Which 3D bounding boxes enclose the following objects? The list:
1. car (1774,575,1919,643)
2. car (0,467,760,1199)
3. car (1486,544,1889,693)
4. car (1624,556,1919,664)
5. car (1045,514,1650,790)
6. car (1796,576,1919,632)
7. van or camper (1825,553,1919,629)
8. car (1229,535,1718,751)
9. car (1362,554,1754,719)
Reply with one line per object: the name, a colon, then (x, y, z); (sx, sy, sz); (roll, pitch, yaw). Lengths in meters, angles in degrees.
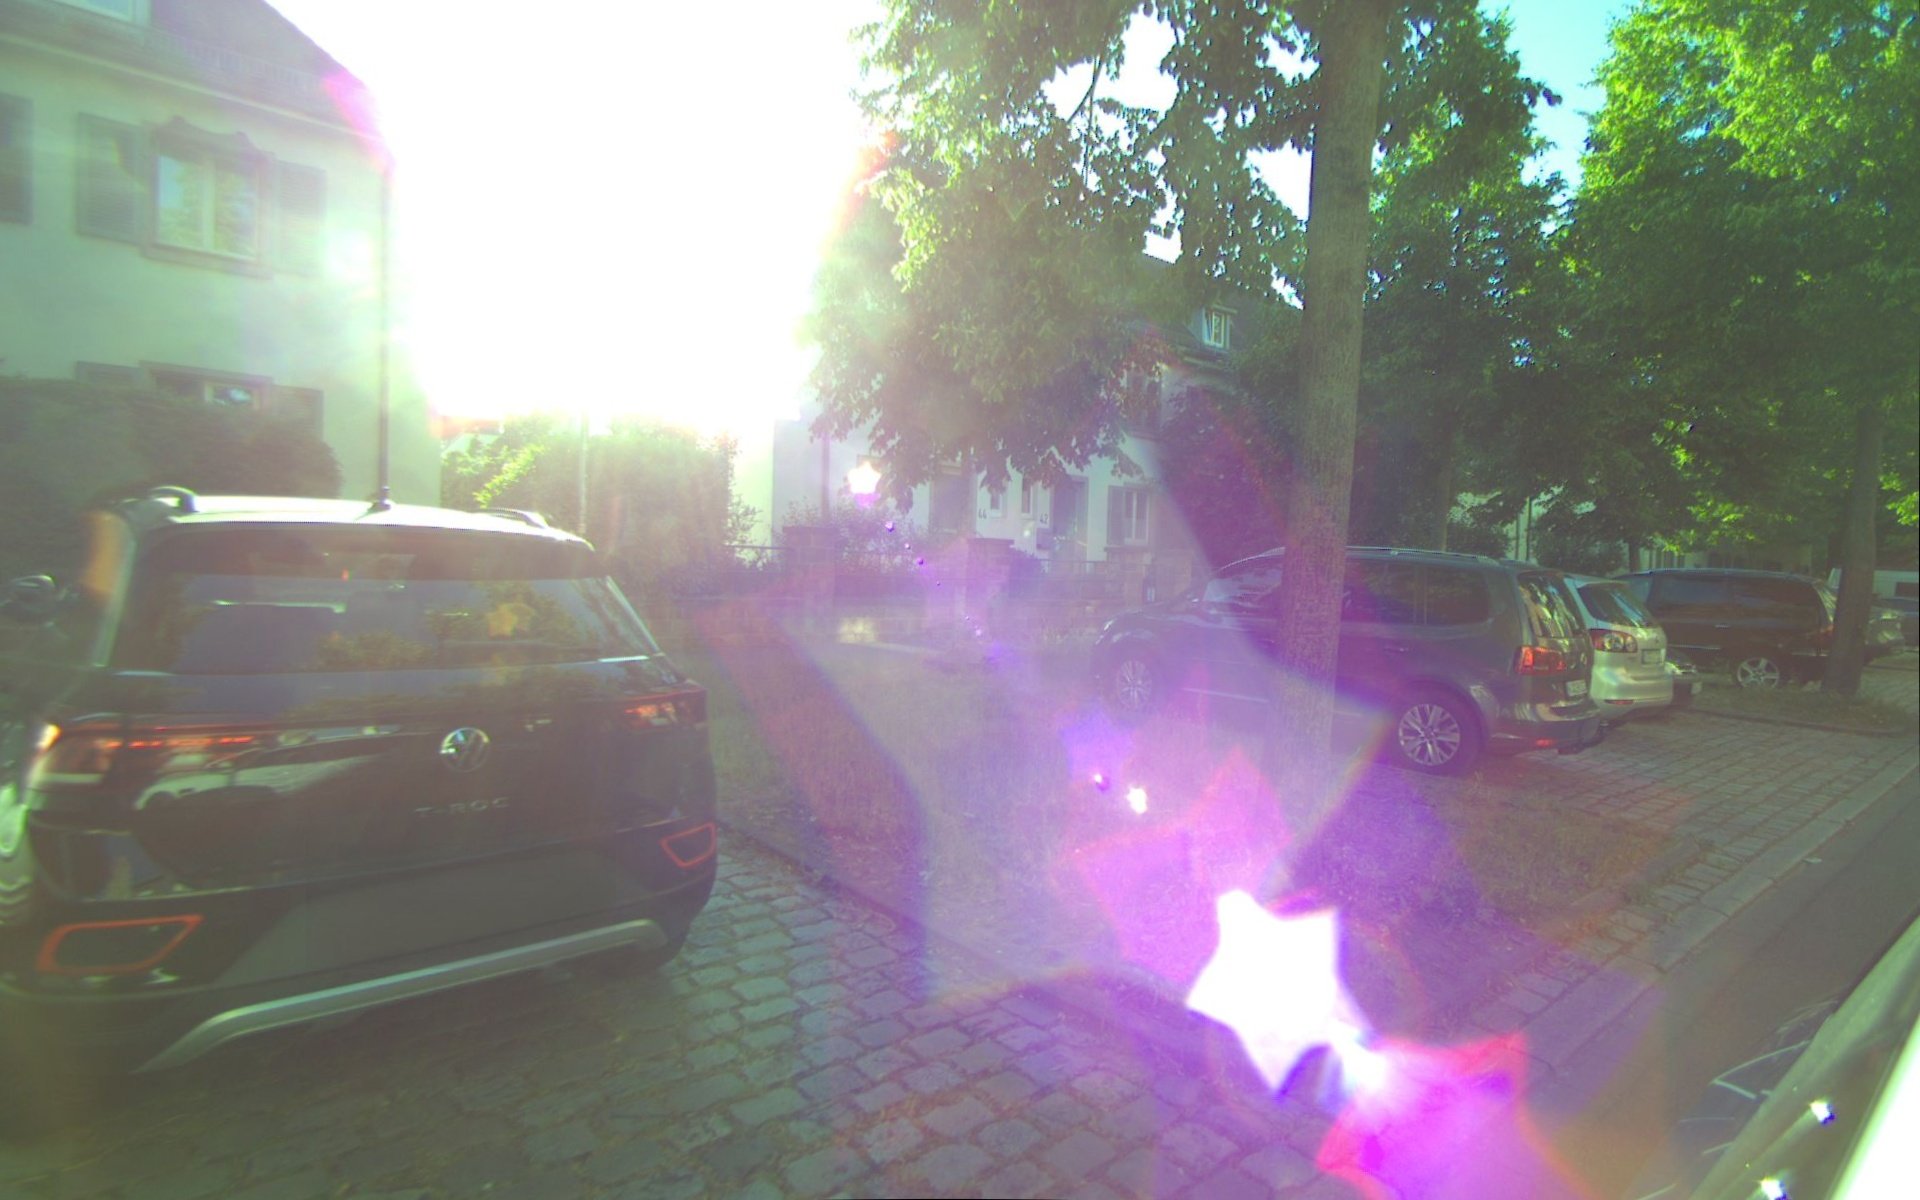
car: (25.595, 0.297, 27.710); (1.862, 1.557, 4.848); (0, 6, -42)
car: (-2.485, 0.343, 3.705); (1.663, 1.494, 4.080); (1, 5, -39)
car: (10.940, 0.144, 15.559); (1.872, 1.697, 4.597); (0, 5, -38)
car: (16.332, 0.104, 20.407); (1.843, 1.652, 4.487); (0, 5, -41)
car: (3.109, 0.204, 8.883); (4.543, 1.652, 1.784); (8, 6, 44)
car: (29.437, 0.164, 31.838); (1.796, 1.452, 4.488); (0, 5, -40)
van or camper: (35.316, -0.227, 36.597); (2.124, 2.546, 5.735); (0, 5, -41)
car: (5.196, 0.262, 10.843); (1.659, 1.652, 4.289); (1, 5, -37)
car: (7.107, 0.312, 12.340); (1.561, 1.470, 3.732); (0, 5, -40)
